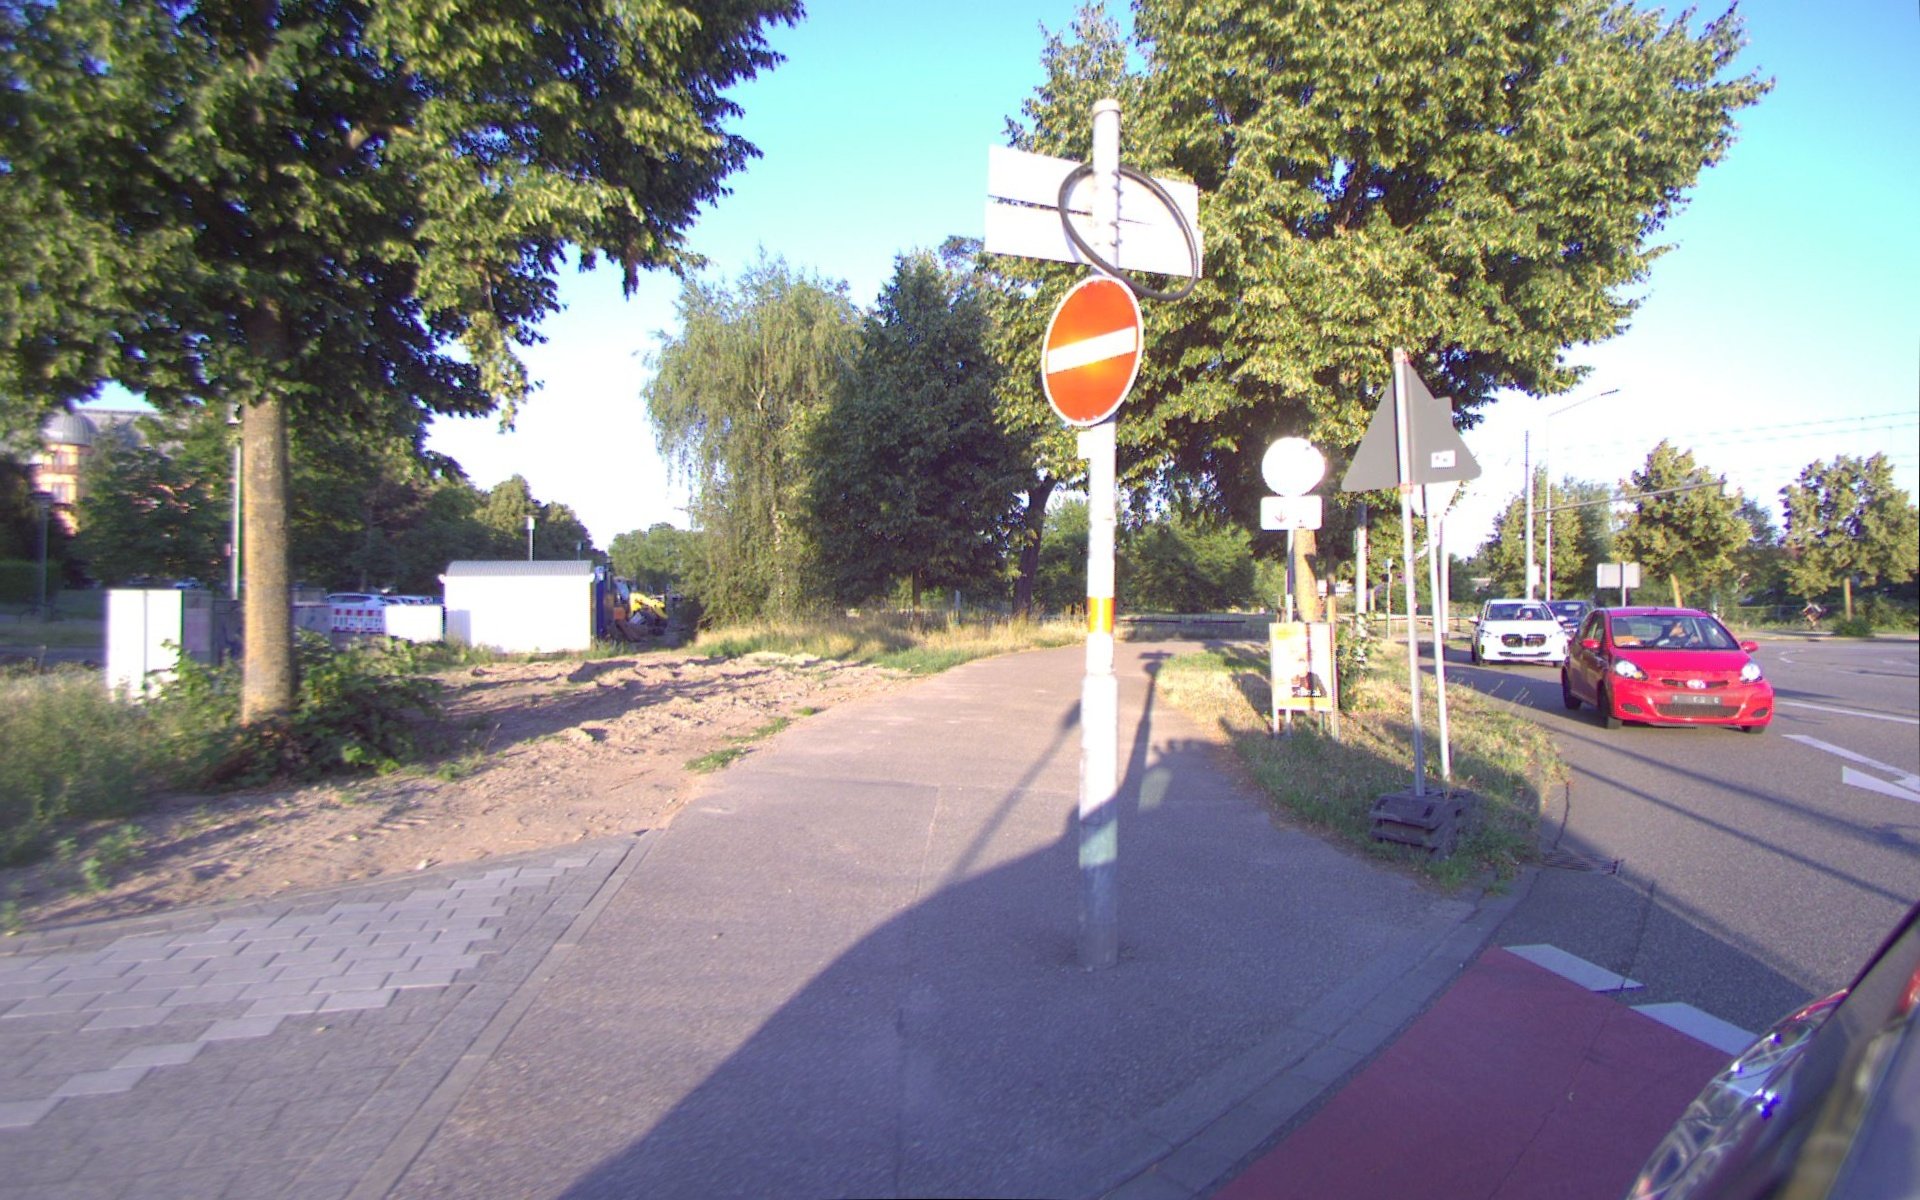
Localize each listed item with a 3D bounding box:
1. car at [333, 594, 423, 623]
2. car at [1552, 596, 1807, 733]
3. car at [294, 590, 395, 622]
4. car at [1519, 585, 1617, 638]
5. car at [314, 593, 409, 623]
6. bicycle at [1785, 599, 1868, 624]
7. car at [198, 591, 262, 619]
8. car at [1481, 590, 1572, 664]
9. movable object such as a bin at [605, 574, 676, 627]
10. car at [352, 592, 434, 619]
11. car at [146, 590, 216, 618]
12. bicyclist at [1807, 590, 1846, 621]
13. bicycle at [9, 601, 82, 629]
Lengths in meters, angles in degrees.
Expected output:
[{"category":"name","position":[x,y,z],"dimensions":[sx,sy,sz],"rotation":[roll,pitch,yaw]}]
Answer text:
[{"category":"car","position":[-30.914,0.453,53.905],"dimensions":[3.916,1.505,1.898],"rotation":[0,0,-22]},{"category":"car","position":[9.036,0.701,13.112],"dimensions":[1.674,1.439,4.181],"rotation":[-1,0,21]},{"category":"car","position":[-29.574,0.276,48.761],"dimensions":[3.916,1.505,1.898],"rotation":[0,0,-22]},{"category":"car","position":[19.592,0.368,32.533],"dimensions":[1.823,1.578,4.147],"rotation":[0,-1,44]},{"category":"car","position":[-30.477,0.388,51.644],"dimensions":[3.916,1.505,1.898],"rotation":[0,0,-22]},{"category":"bicycle","position":[50.929,0.648,59.558],"dimensions":[1.101,1.413,3.543],"rotation":[0,0,-28]},{"category":"car","position":[-41.220,0.283,57.222],"dimensions":[1.855,1.505,3.837],"rotation":[0,0,-18]},{"category":"car","position":[13.416,0.597,23.989],"dimensions":[1.745,1.578,4.170],"rotation":[0,0,30]},{"category":"movable object such as a bin","position":[-14.938,0.009,47.471],"dimensions":[2.769,2.461,1.896],"rotation":[0,0,-3]},{"category":"car","position":[-32.838,0.321,58.765],"dimensions":[3.916,1.505,1.898],"rotation":[0,0,-22]},{"category":"car","position":[-42.790,0.217,55.679],"dimensions":[1.855,1.505,3.837],"rotation":[0,0,-18]},{"category":"bicyclist","position":[50.949,0.327,59.521],"dimensions":[1.101,1.771,1.419],"rotation":[0,0,-28]},{"category":"bicycle","position":[-30.561,0.509,33.840],"dimensions":[1.809,0.890,0.406],"rotation":[2,-1,-16]}]
